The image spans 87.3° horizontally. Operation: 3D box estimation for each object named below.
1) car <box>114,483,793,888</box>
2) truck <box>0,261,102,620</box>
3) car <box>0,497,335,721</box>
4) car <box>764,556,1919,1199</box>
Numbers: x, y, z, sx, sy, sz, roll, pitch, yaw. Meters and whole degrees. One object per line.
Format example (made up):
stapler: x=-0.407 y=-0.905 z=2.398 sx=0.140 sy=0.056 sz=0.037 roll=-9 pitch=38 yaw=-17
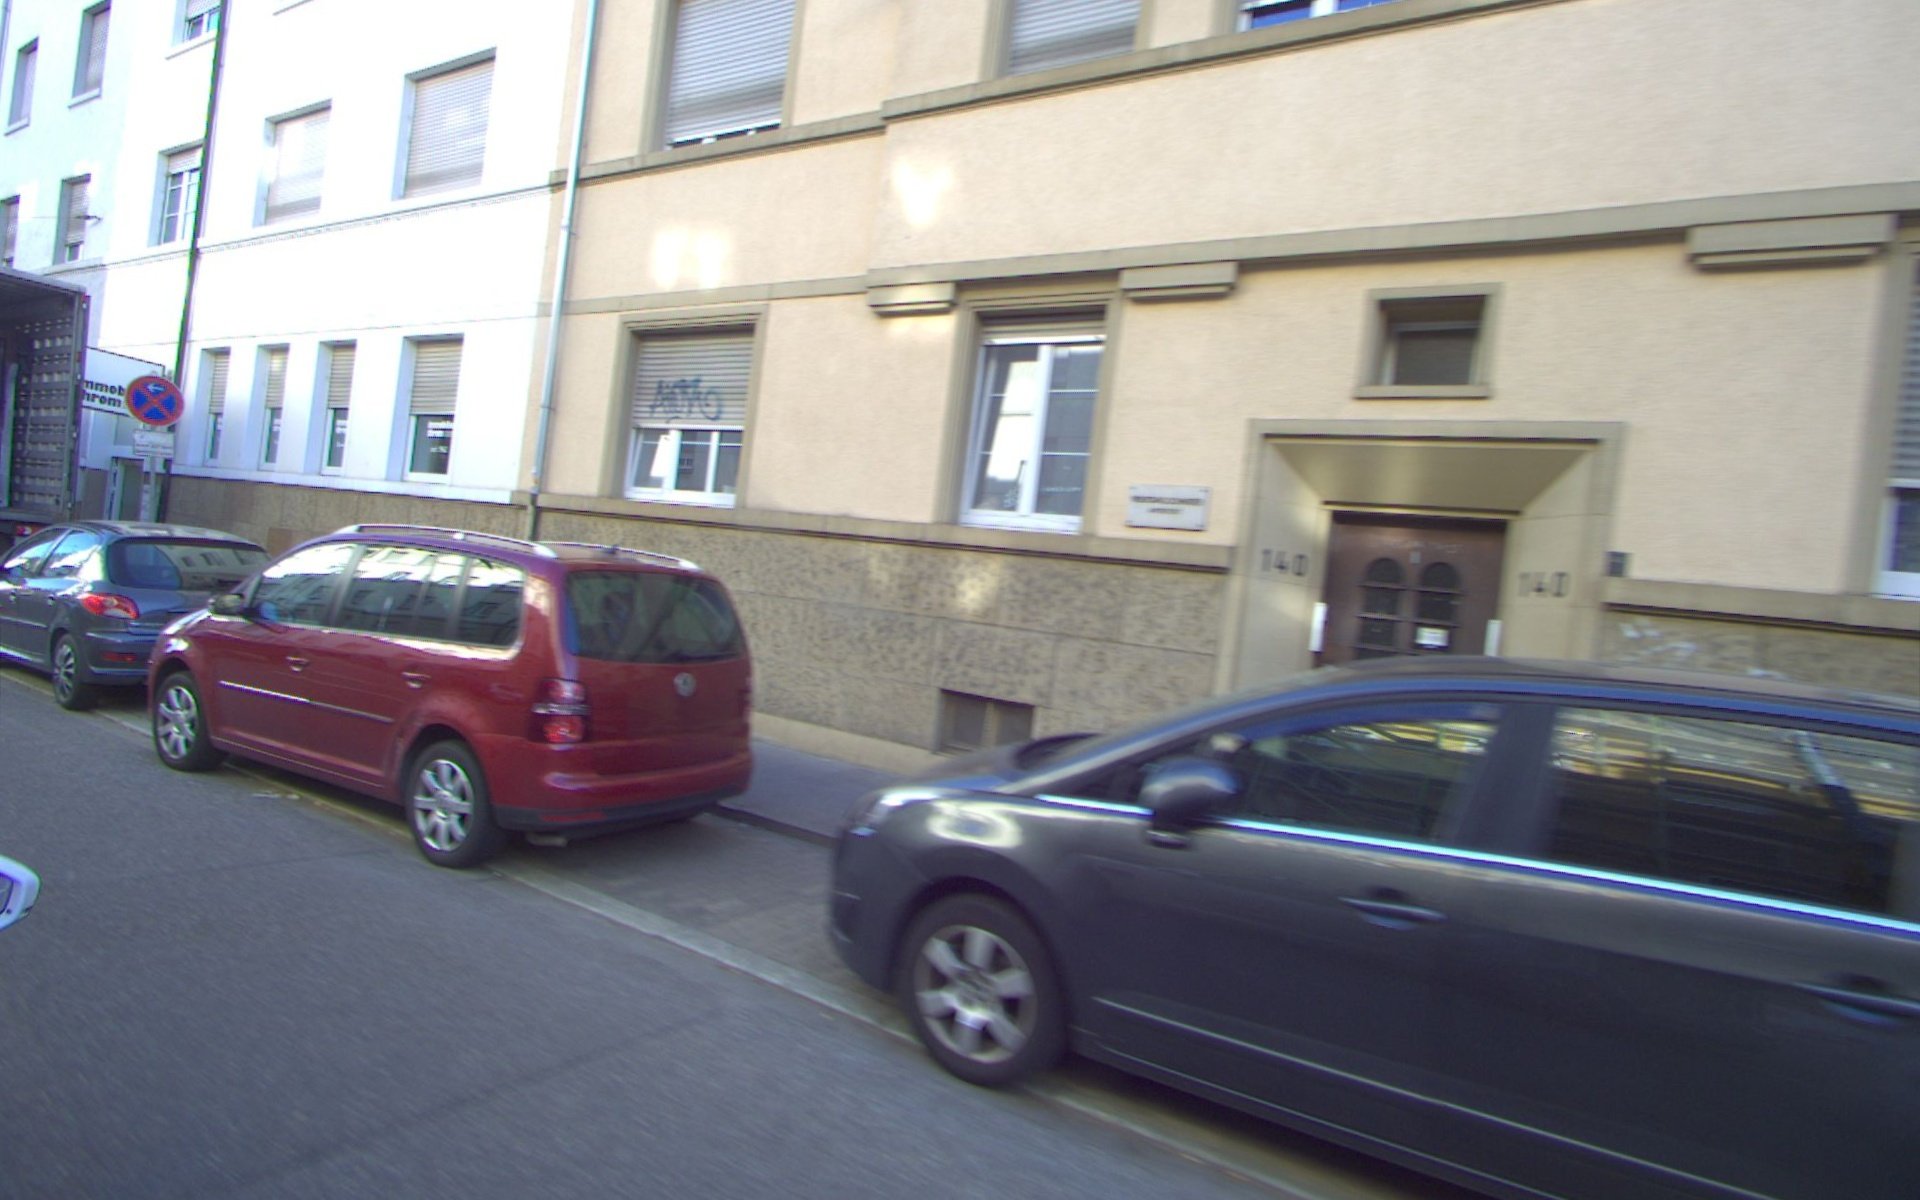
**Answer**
car: x=-3.253 y=0.315 z=6.234 sx=4.174 sy=1.629 sz=1.594 roll=7 pitch=1 yaw=29
truck: x=-16.408 y=-2.492 z=14.403 sx=11.586 sy=4.124 sz=2.862 roll=7 pitch=0 yaw=33
car: x=-7.411 y=-0.023 z=8.862 sx=3.815 sy=1.482 sz=1.584 roll=7 pitch=1 yaw=31
car: x=1.635 y=0.942 z=3.444 sx=4.292 sy=1.672 sz=1.792 roll=7 pitch=1 yaw=30
